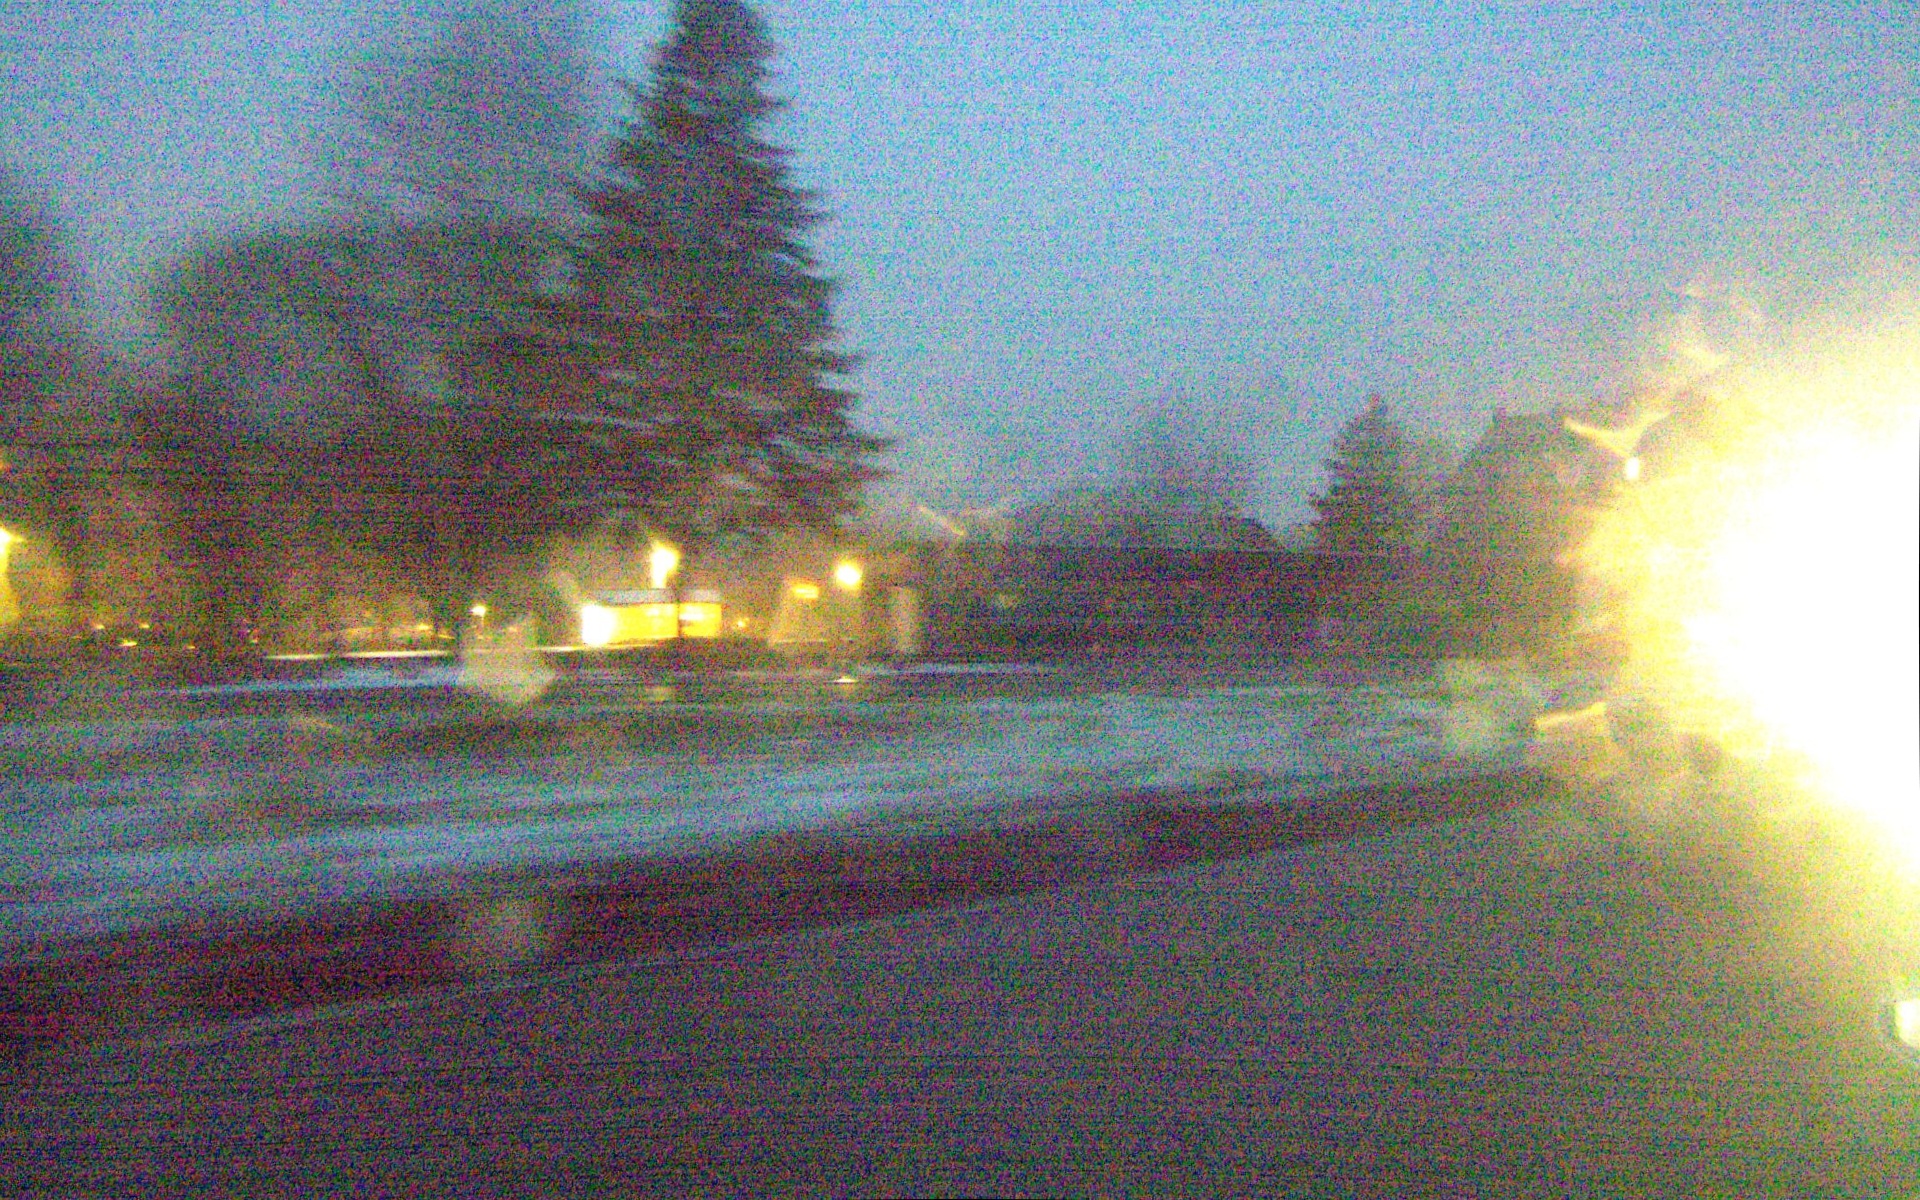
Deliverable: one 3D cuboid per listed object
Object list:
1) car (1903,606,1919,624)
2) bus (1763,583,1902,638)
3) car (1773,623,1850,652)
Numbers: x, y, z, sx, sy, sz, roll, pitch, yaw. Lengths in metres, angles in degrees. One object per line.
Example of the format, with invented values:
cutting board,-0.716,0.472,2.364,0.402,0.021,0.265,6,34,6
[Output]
car,90.750,1.415,95.362,1.676,1.621,3.781,0,0,41
bus,67.789,0.708,78.584,2.844,3.920,13.063,0,0,16
car,44.950,1.993,52.985,4.098,1.416,1.682,0,-2,-28
